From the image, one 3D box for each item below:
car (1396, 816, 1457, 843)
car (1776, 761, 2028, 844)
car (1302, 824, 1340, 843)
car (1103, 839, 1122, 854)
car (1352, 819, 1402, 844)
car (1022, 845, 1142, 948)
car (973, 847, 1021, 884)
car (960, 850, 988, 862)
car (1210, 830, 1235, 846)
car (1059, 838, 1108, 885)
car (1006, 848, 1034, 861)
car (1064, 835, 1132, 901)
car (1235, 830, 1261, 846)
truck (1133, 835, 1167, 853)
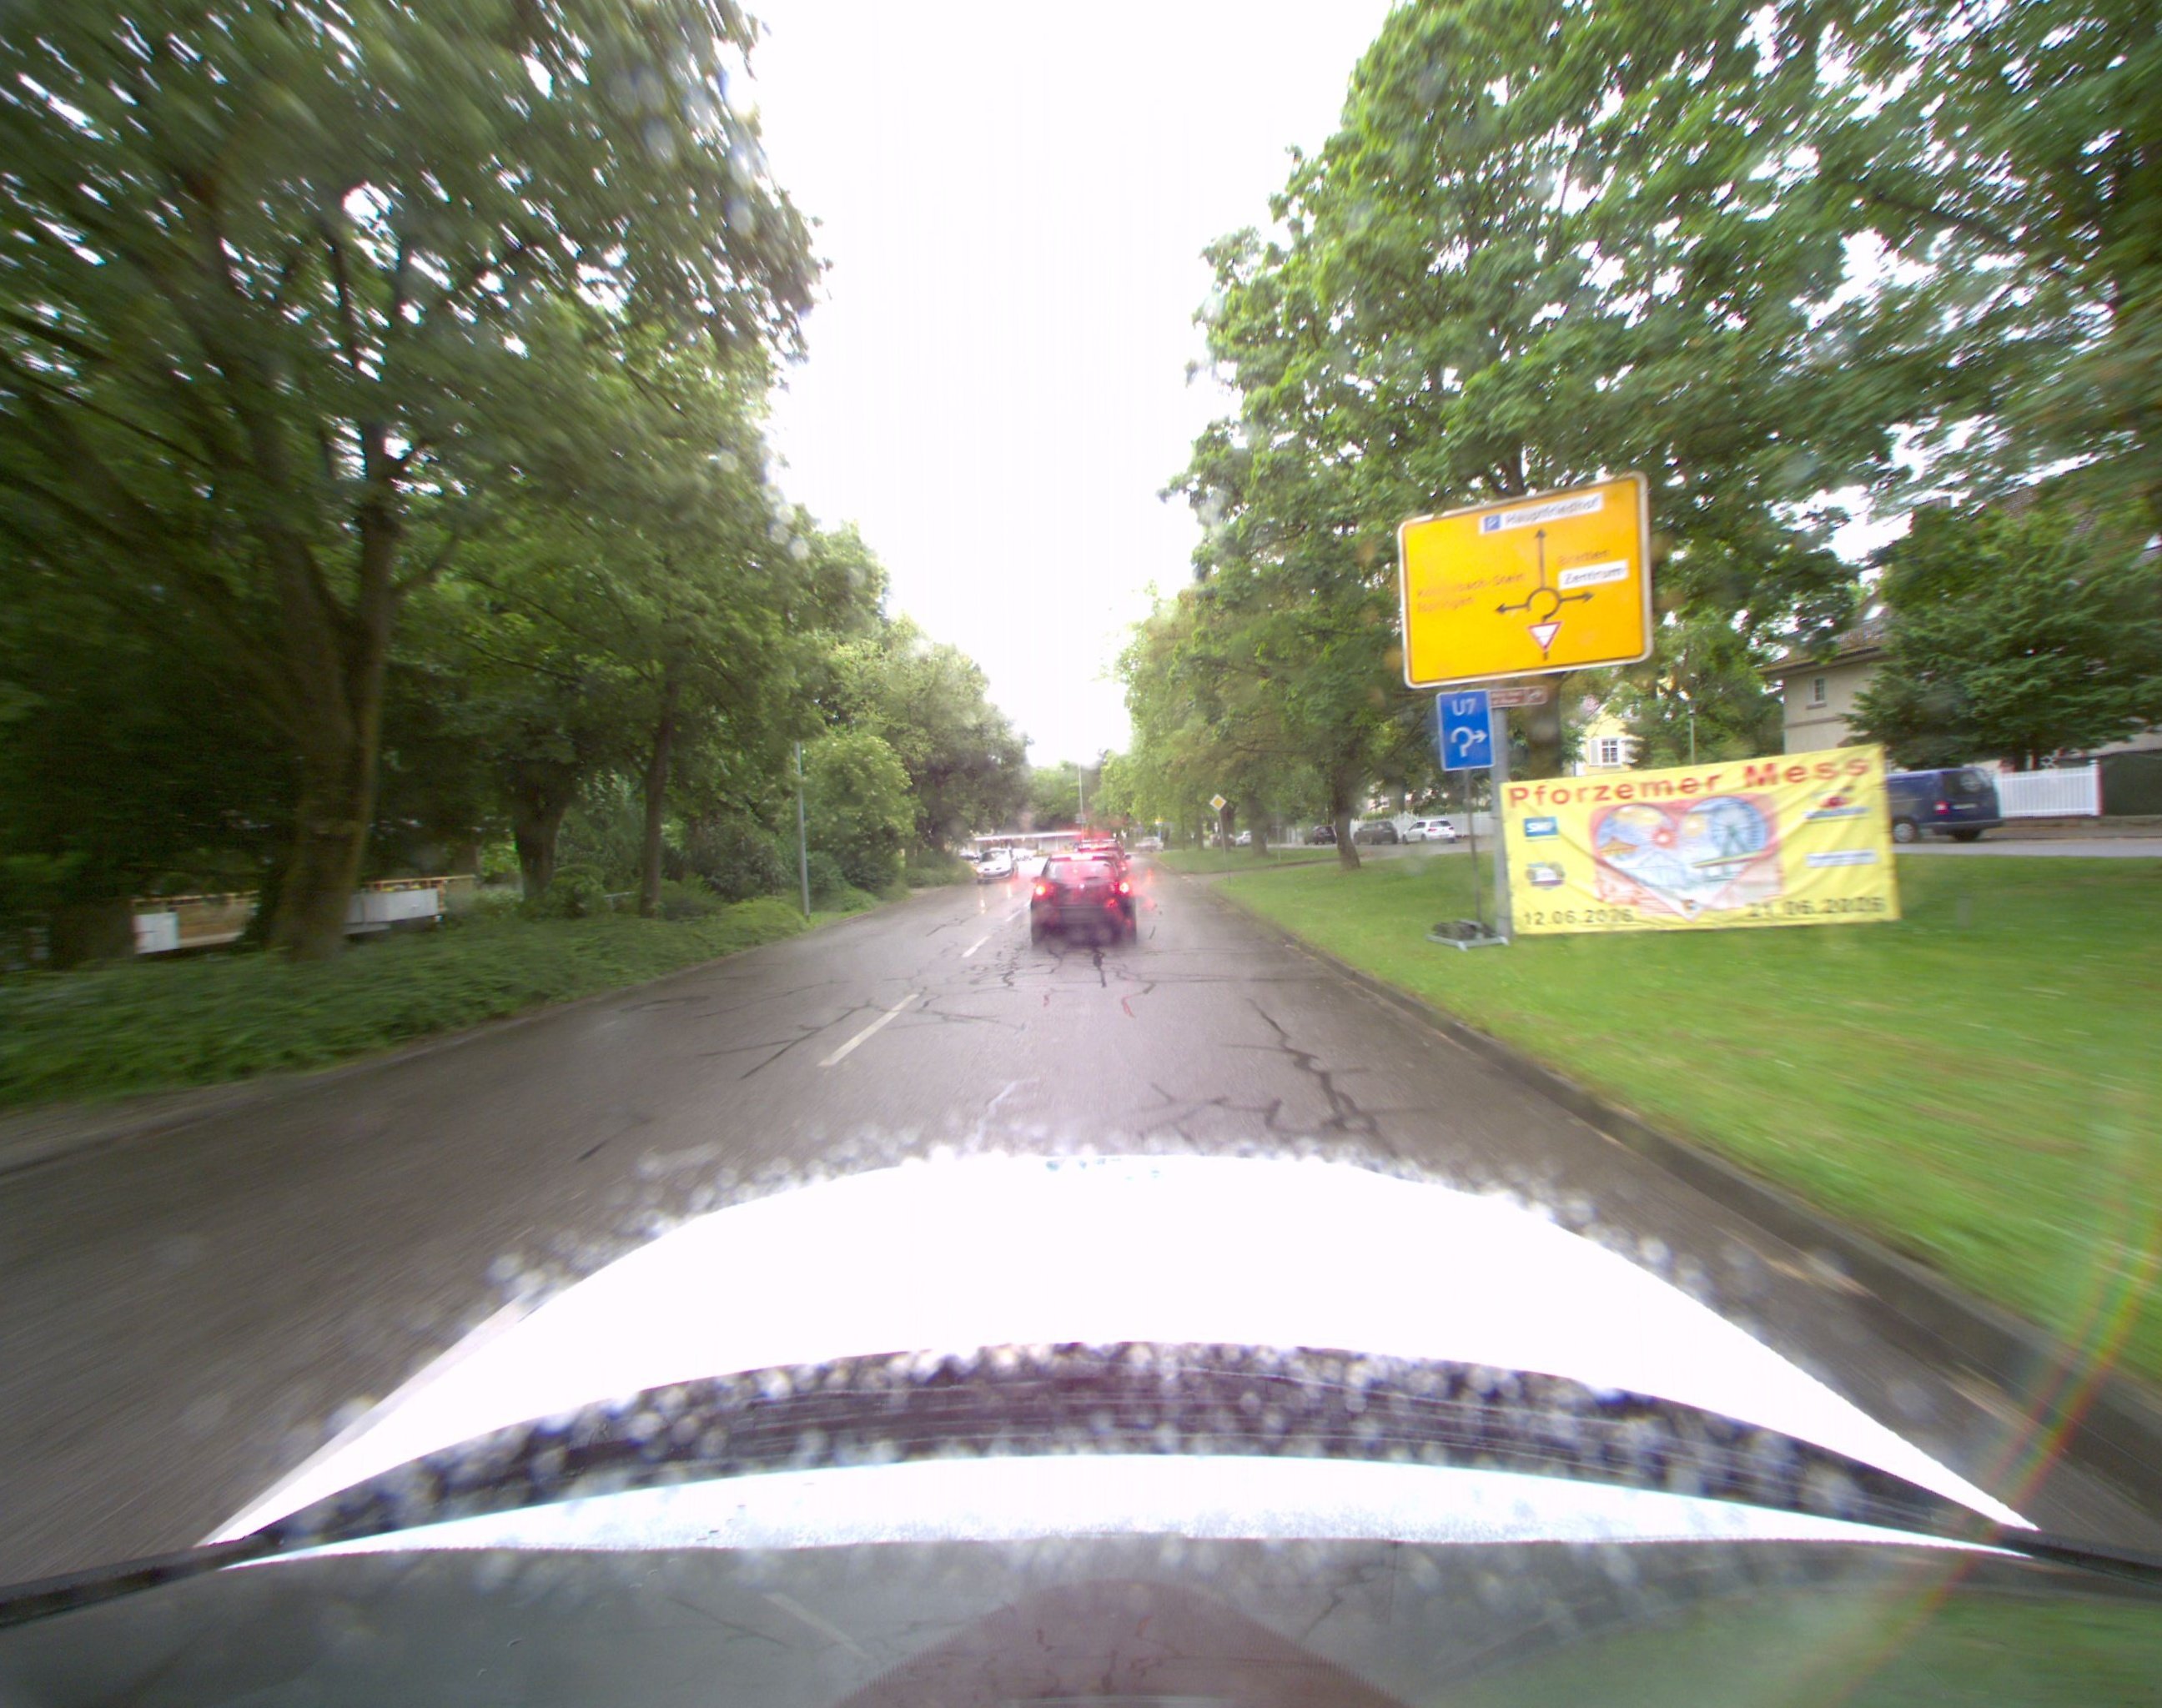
[{"bbox_3d":[20.411,-1.442,48.256,1.613,1.409,4.005,-4,1,-3],"label":"car"},{"bbox_3d":[21.556,-1.284,21.731,1.936,1.809,4.647,-5,2,-1],"label":"car"},{"bbox_3d":[19.928,-1.717,67.762,1.796,1.411,4.111,-4,1,-1],"label":"car"},{"bbox_3d":[3.439,-0.809,88.548,1.697,1.513,3.680,-4,0,7],"label":"car"},{"bbox_3d":[20.223,-1.513,55.813,1.796,1.529,4.111,-4,1,-1],"label":"car"},{"bbox_3d":[0.088,0.642,14.387,1.792,1.515,3.756,-2,0,2],"label":"car"},{"bbox_3d":[-4.092,0.509,40.212,1.758,1.614,4.141,-4,0,1],"label":"car"},{"bbox_3d":[-15.666,0.369,119.034,3.927,1.393,1.815,-5,1,40],"label":"car"},{"bbox_3d":[13.961,-1.626,80.497,1.797,1.385,4.002,-5,1,2],"label":"car"},{"bbox_3d":[0.157,0.276,34.701,1.848,1.784,4.002,-3,0,2],"label":"car"},{"bbox_3d":[-7.133,0.077,94.788,1.618,1.427,3.971,-5,2,-28],"label":"car"},{"bbox_3d":[0.569,0.379,25.425,1.848,1.784,4.002,-3,1,2],"label":"car"},{"bbox_3d":[16.497,-1.617,80.746,1.797,1.406,4.002,-5,1,2],"label":"car"},{"bbox_3d":[8.812,-1.269,103.504,2.394,2.004,5.182,-3,0,27],"label":"truck"}]
